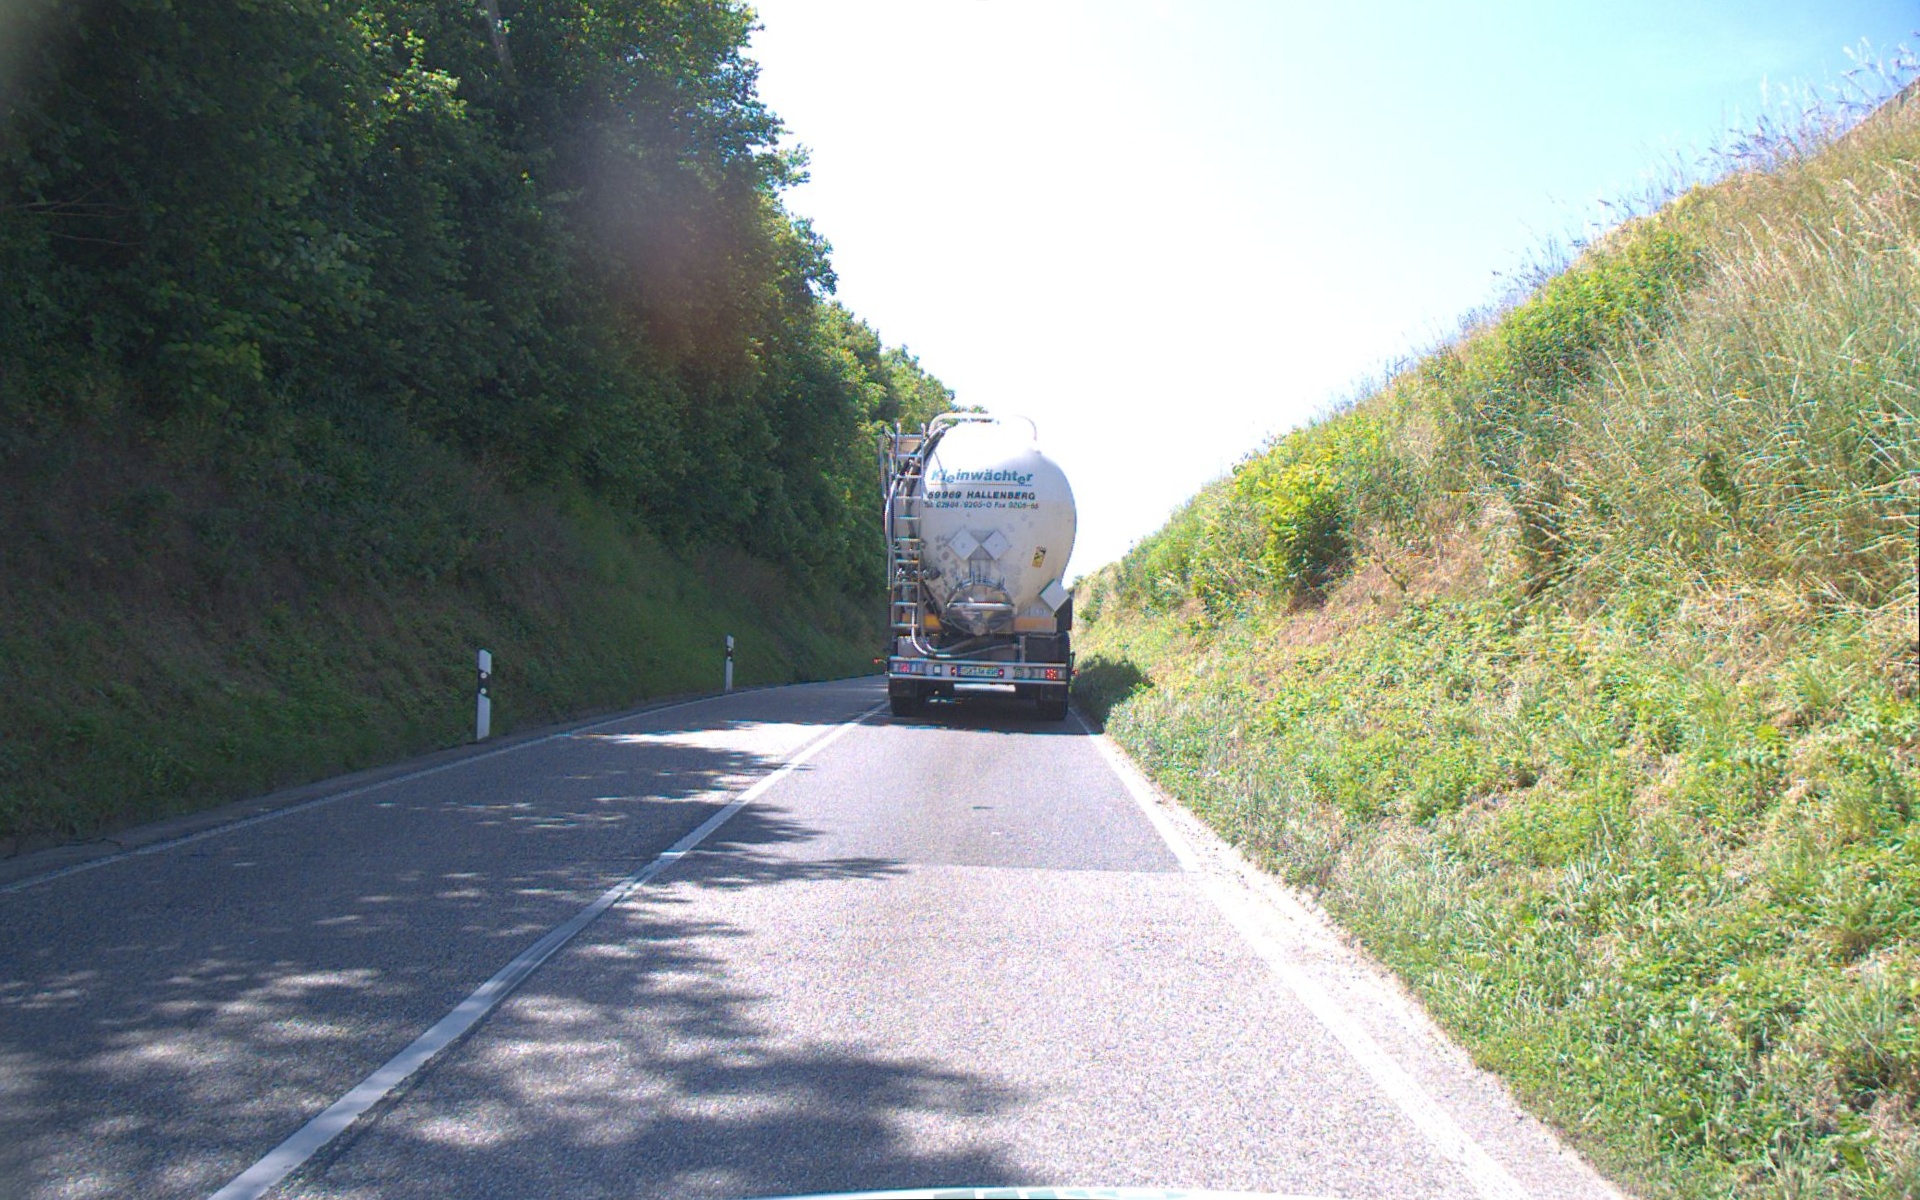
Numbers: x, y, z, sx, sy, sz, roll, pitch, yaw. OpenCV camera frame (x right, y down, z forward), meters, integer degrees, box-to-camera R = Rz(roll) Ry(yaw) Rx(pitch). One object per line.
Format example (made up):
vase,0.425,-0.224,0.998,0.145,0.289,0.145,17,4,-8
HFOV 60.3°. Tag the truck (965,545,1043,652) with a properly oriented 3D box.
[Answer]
truck,1.979,-0.015,76.485,3.125,4.385,11.800,3,-1,1

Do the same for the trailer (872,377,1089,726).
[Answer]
trailer,0.277,-0.515,26.395,2.606,4.262,11.903,1,-1,0

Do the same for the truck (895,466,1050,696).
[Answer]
truck,0.333,-0.263,32.345,2.670,3.999,7.264,0,-1,2
